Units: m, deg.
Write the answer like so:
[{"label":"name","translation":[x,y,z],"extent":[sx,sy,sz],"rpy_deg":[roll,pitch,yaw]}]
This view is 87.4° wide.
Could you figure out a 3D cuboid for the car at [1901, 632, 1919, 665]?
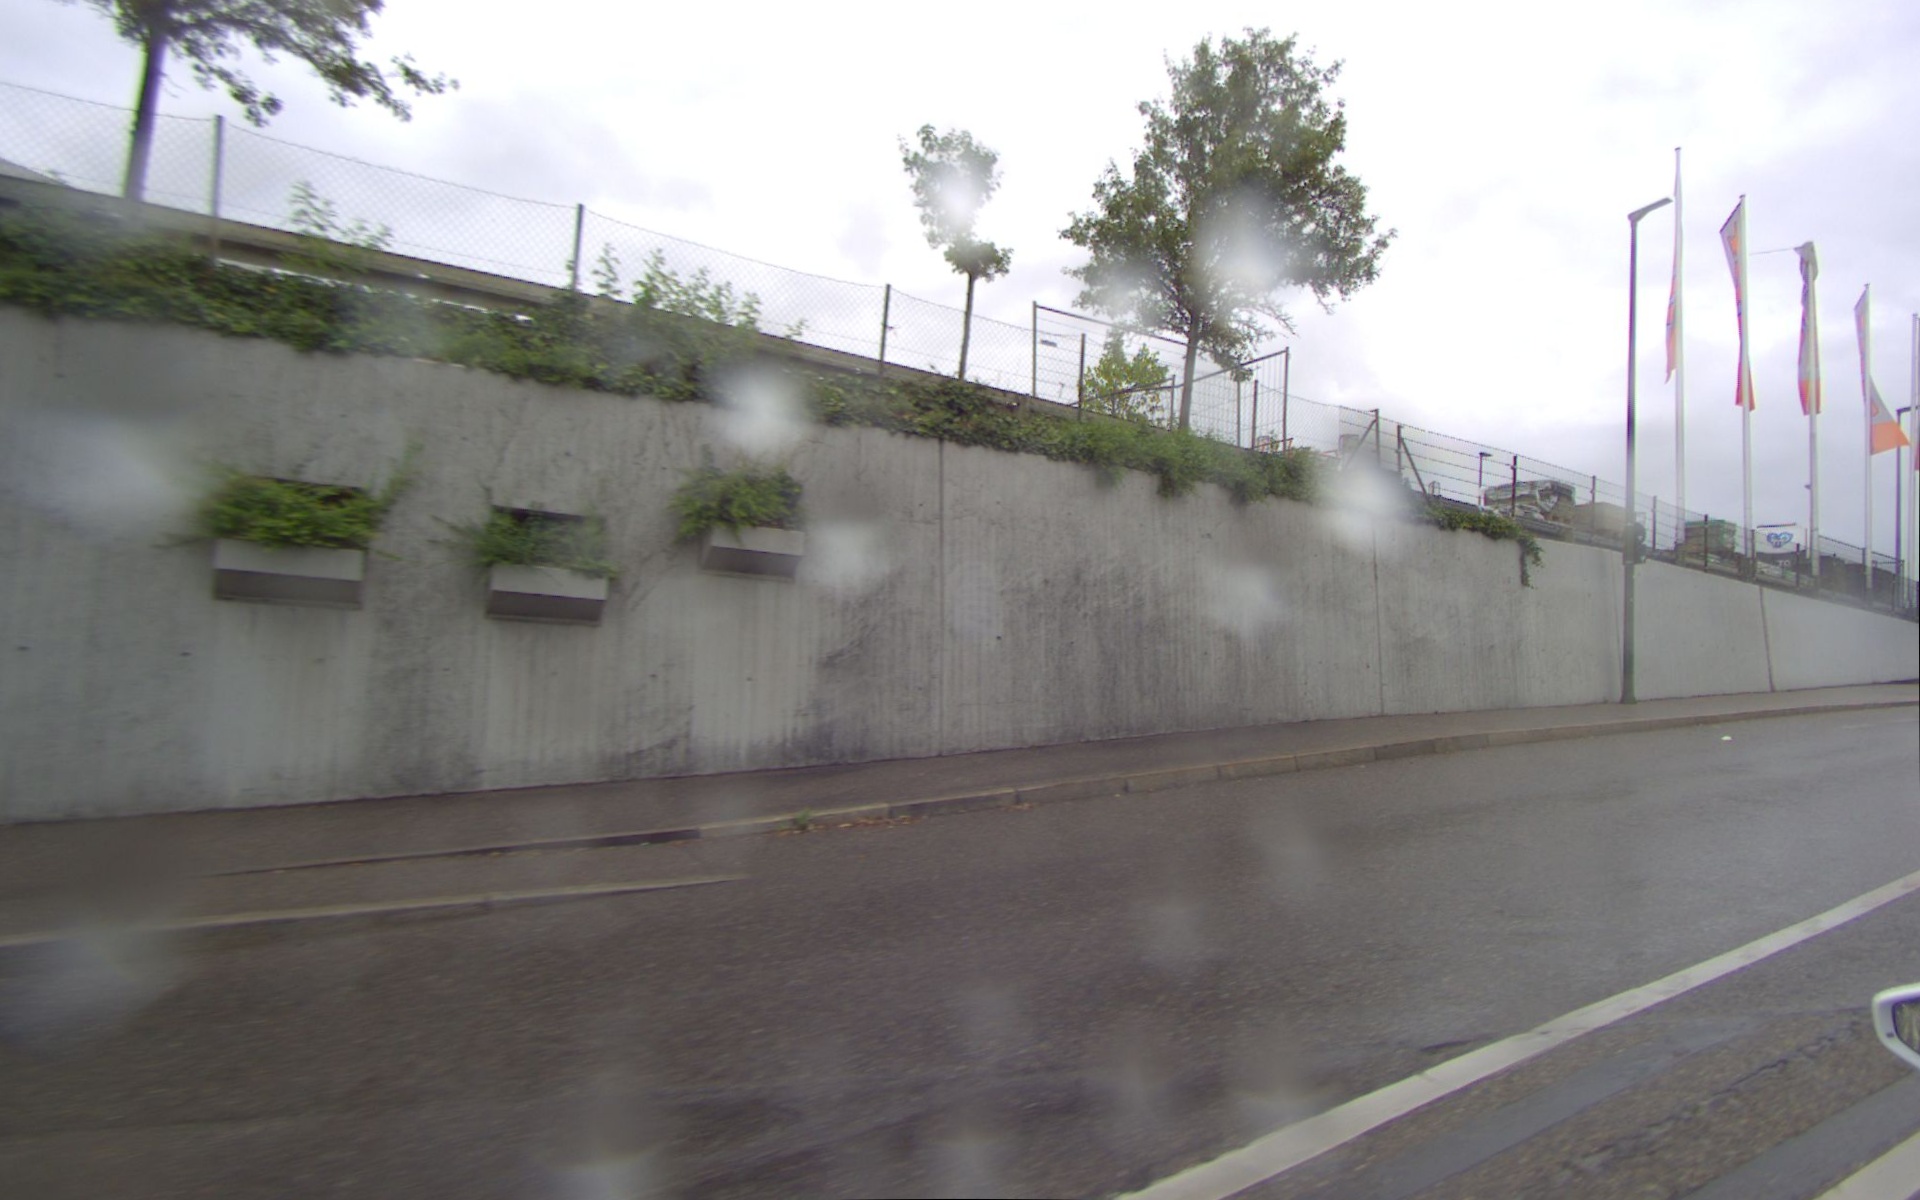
[{"label":"car","translation":[61.963,3.059,64.043],"extent":[4.952,2.040,1.980],"rpy_deg":[1,-1,-36]}]
